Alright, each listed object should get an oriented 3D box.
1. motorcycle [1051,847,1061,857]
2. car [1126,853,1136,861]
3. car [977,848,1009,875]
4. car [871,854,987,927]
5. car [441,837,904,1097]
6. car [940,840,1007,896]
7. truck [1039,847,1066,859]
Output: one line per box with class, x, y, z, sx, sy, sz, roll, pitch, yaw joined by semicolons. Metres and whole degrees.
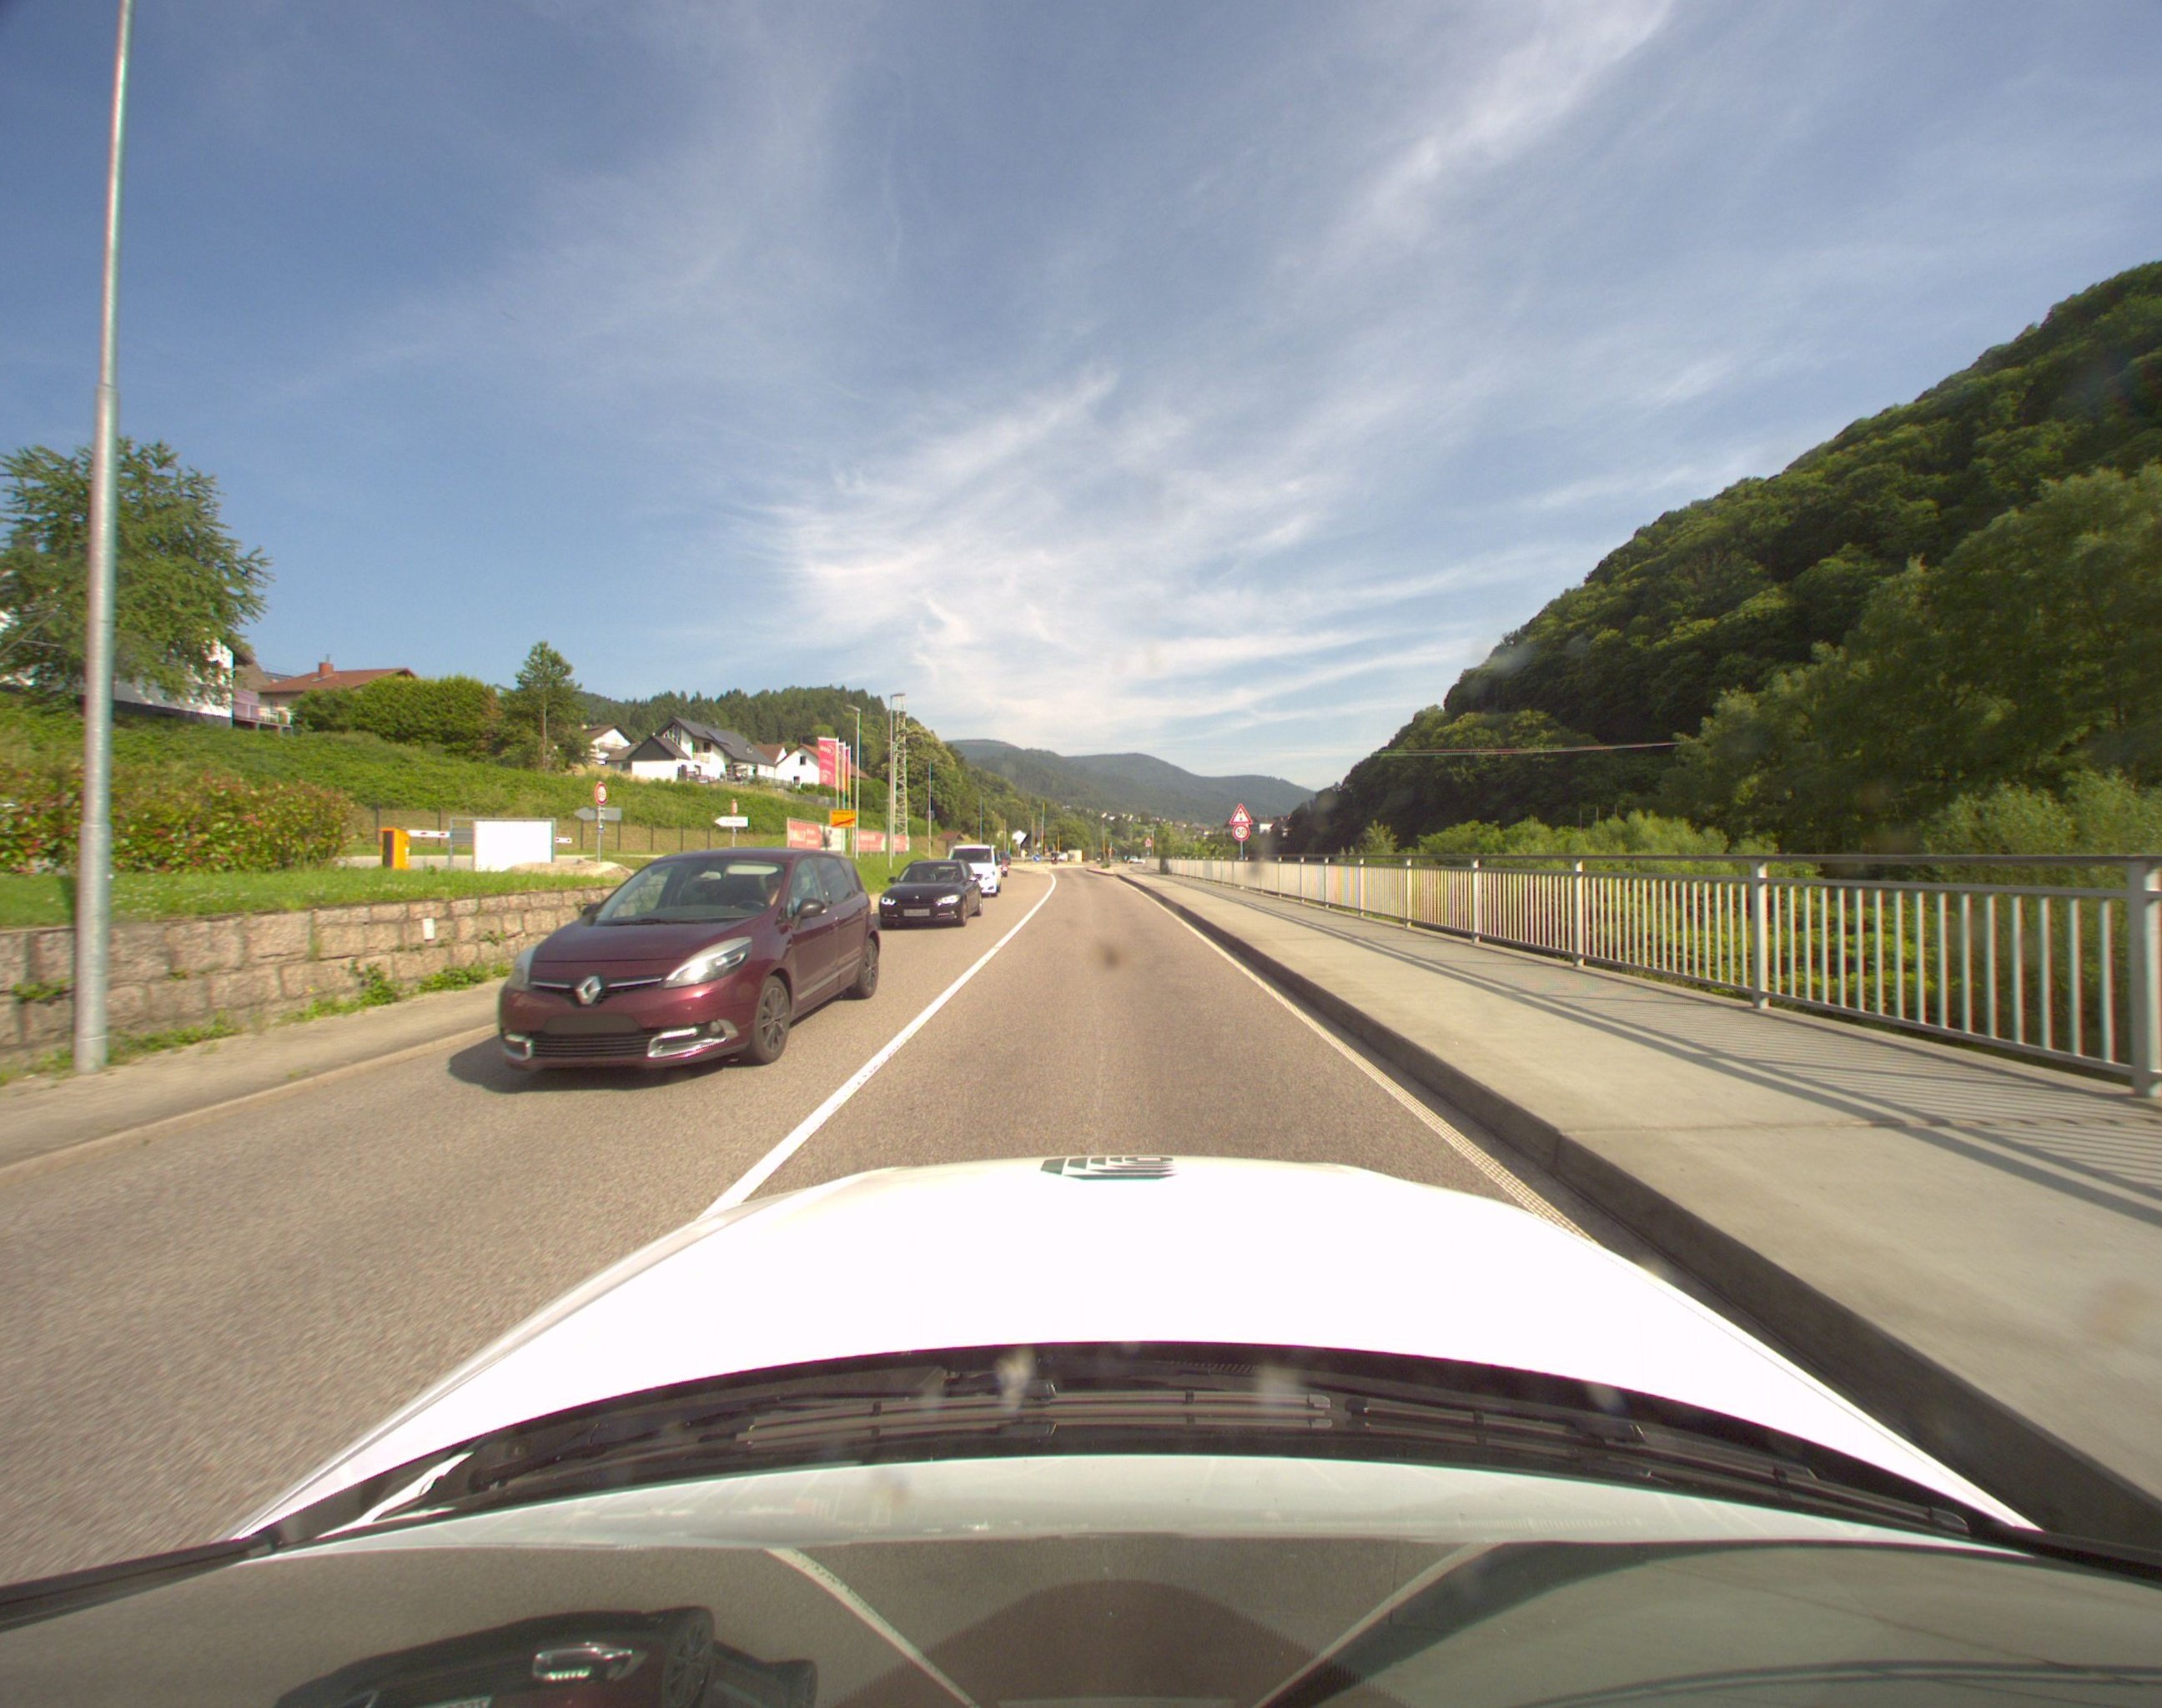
motorcycle;-3.329;-0.265;106.757;0.895;1.183;2.296;1;0;-12
car;11.742;0.727;190.314;1.751;1.561;4.013;-1;-4;14
car;-5.343;0.427;49.966;1.702;1.584;4.153;1;0;-4
car;-3.312;0.735;18.544;1.767;1.399;4.233;-1;0;0
car;-3.076;0.699;7.391;1.790;1.618;4.465;-1;0;2
car;-3.868;0.466;30.126;1.891;1.887;5.292;0;0;-2
truck;-5.885;-0.171;168.135;5.929;2.266;2.012;4;3;44
